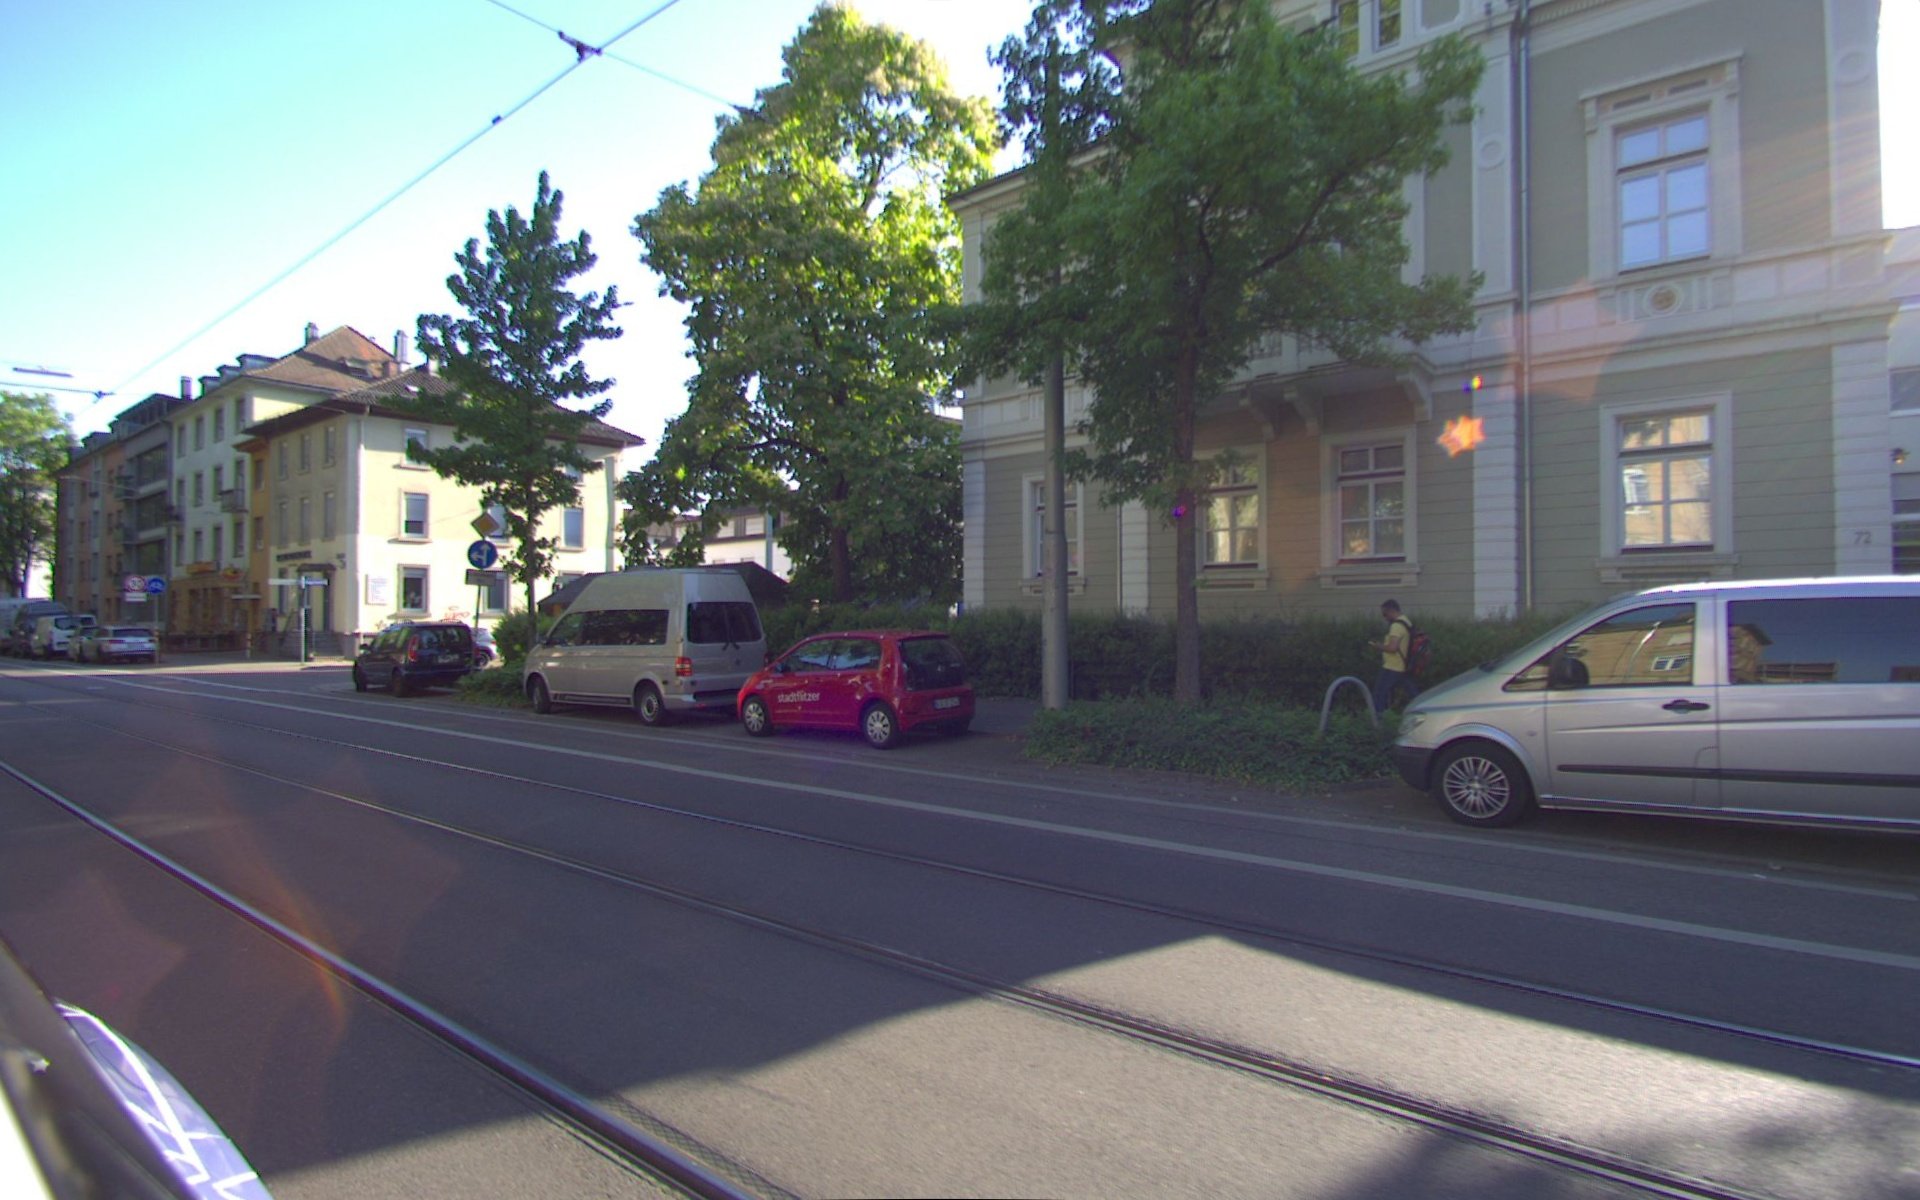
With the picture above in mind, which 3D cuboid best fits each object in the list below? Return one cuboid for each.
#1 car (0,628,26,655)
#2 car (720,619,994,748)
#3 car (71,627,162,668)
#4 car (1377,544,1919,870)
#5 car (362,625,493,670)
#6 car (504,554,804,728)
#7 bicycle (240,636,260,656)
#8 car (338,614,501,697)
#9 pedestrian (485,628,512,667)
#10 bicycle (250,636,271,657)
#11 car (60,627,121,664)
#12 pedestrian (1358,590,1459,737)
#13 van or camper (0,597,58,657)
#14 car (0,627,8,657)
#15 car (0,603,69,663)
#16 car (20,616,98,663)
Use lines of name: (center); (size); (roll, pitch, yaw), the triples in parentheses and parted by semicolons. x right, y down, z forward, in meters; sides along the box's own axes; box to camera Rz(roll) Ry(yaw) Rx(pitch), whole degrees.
car: (-56.310, 2.447, 59.341); (3.469, 1.526, 1.769); (-1, -1, 39)
car: (-1.489, 1.057, 14.002); (3.704, 1.551, 1.668); (-1, -2, 39)
car: (-33.567, 1.841, 40.234); (4.933, 1.504, 1.754); (-1, -1, 37)
car: (5.925, 0.689, 7.414); (4.985, 2.004, 1.824); (-1, -2, 41)
car: (-20.361, 1.806, 38.800); (1.966, 1.630, 4.017); (-1, -3, 43)
car: (-5.333, 0.665, 17.301); (5.336, 2.527, 2.282); (-1, -2, 38)
bicycle: (-33.399, 2.159, 47.578); (1.646, 0.935, 0.358); (-1, -2, 40)
car: (-12.365, 1.201, 23.044); (4.260, 1.703, 1.971); (-2, -2, 42)
pedestrian: (-19.364, 1.976, 42.425); (0.753, 1.599, 0.764); (3, 1, 42)
bicycle: (-32.106, 2.135, 46.460); (1.646, 0.935, 0.358); (-1, -2, 40)
car: (-37.211, 1.916, 43.314); (2.880, 1.504, 1.555); (-1, -1, 40)
pedestrian: (5.362, 0.733, 12.103); (0.947, 1.674, 0.598); (-2, -1, 41)
van or camper: (-51.434, 1.470, 55.286); (5.987, 2.999, 2.393); (-1, 2, 41)
car: (-60.666, 2.605, 62.785); (4.430, 1.767, 1.769); (-1, -1, 39)
car: (-46.372, 1.638, 50.670); (4.543, 2.767, 1.904); (-1, 2, 40)
car: (-41.766, 1.797, 46.878); (4.936, 2.062, 1.904); (-1, -1, 39)
